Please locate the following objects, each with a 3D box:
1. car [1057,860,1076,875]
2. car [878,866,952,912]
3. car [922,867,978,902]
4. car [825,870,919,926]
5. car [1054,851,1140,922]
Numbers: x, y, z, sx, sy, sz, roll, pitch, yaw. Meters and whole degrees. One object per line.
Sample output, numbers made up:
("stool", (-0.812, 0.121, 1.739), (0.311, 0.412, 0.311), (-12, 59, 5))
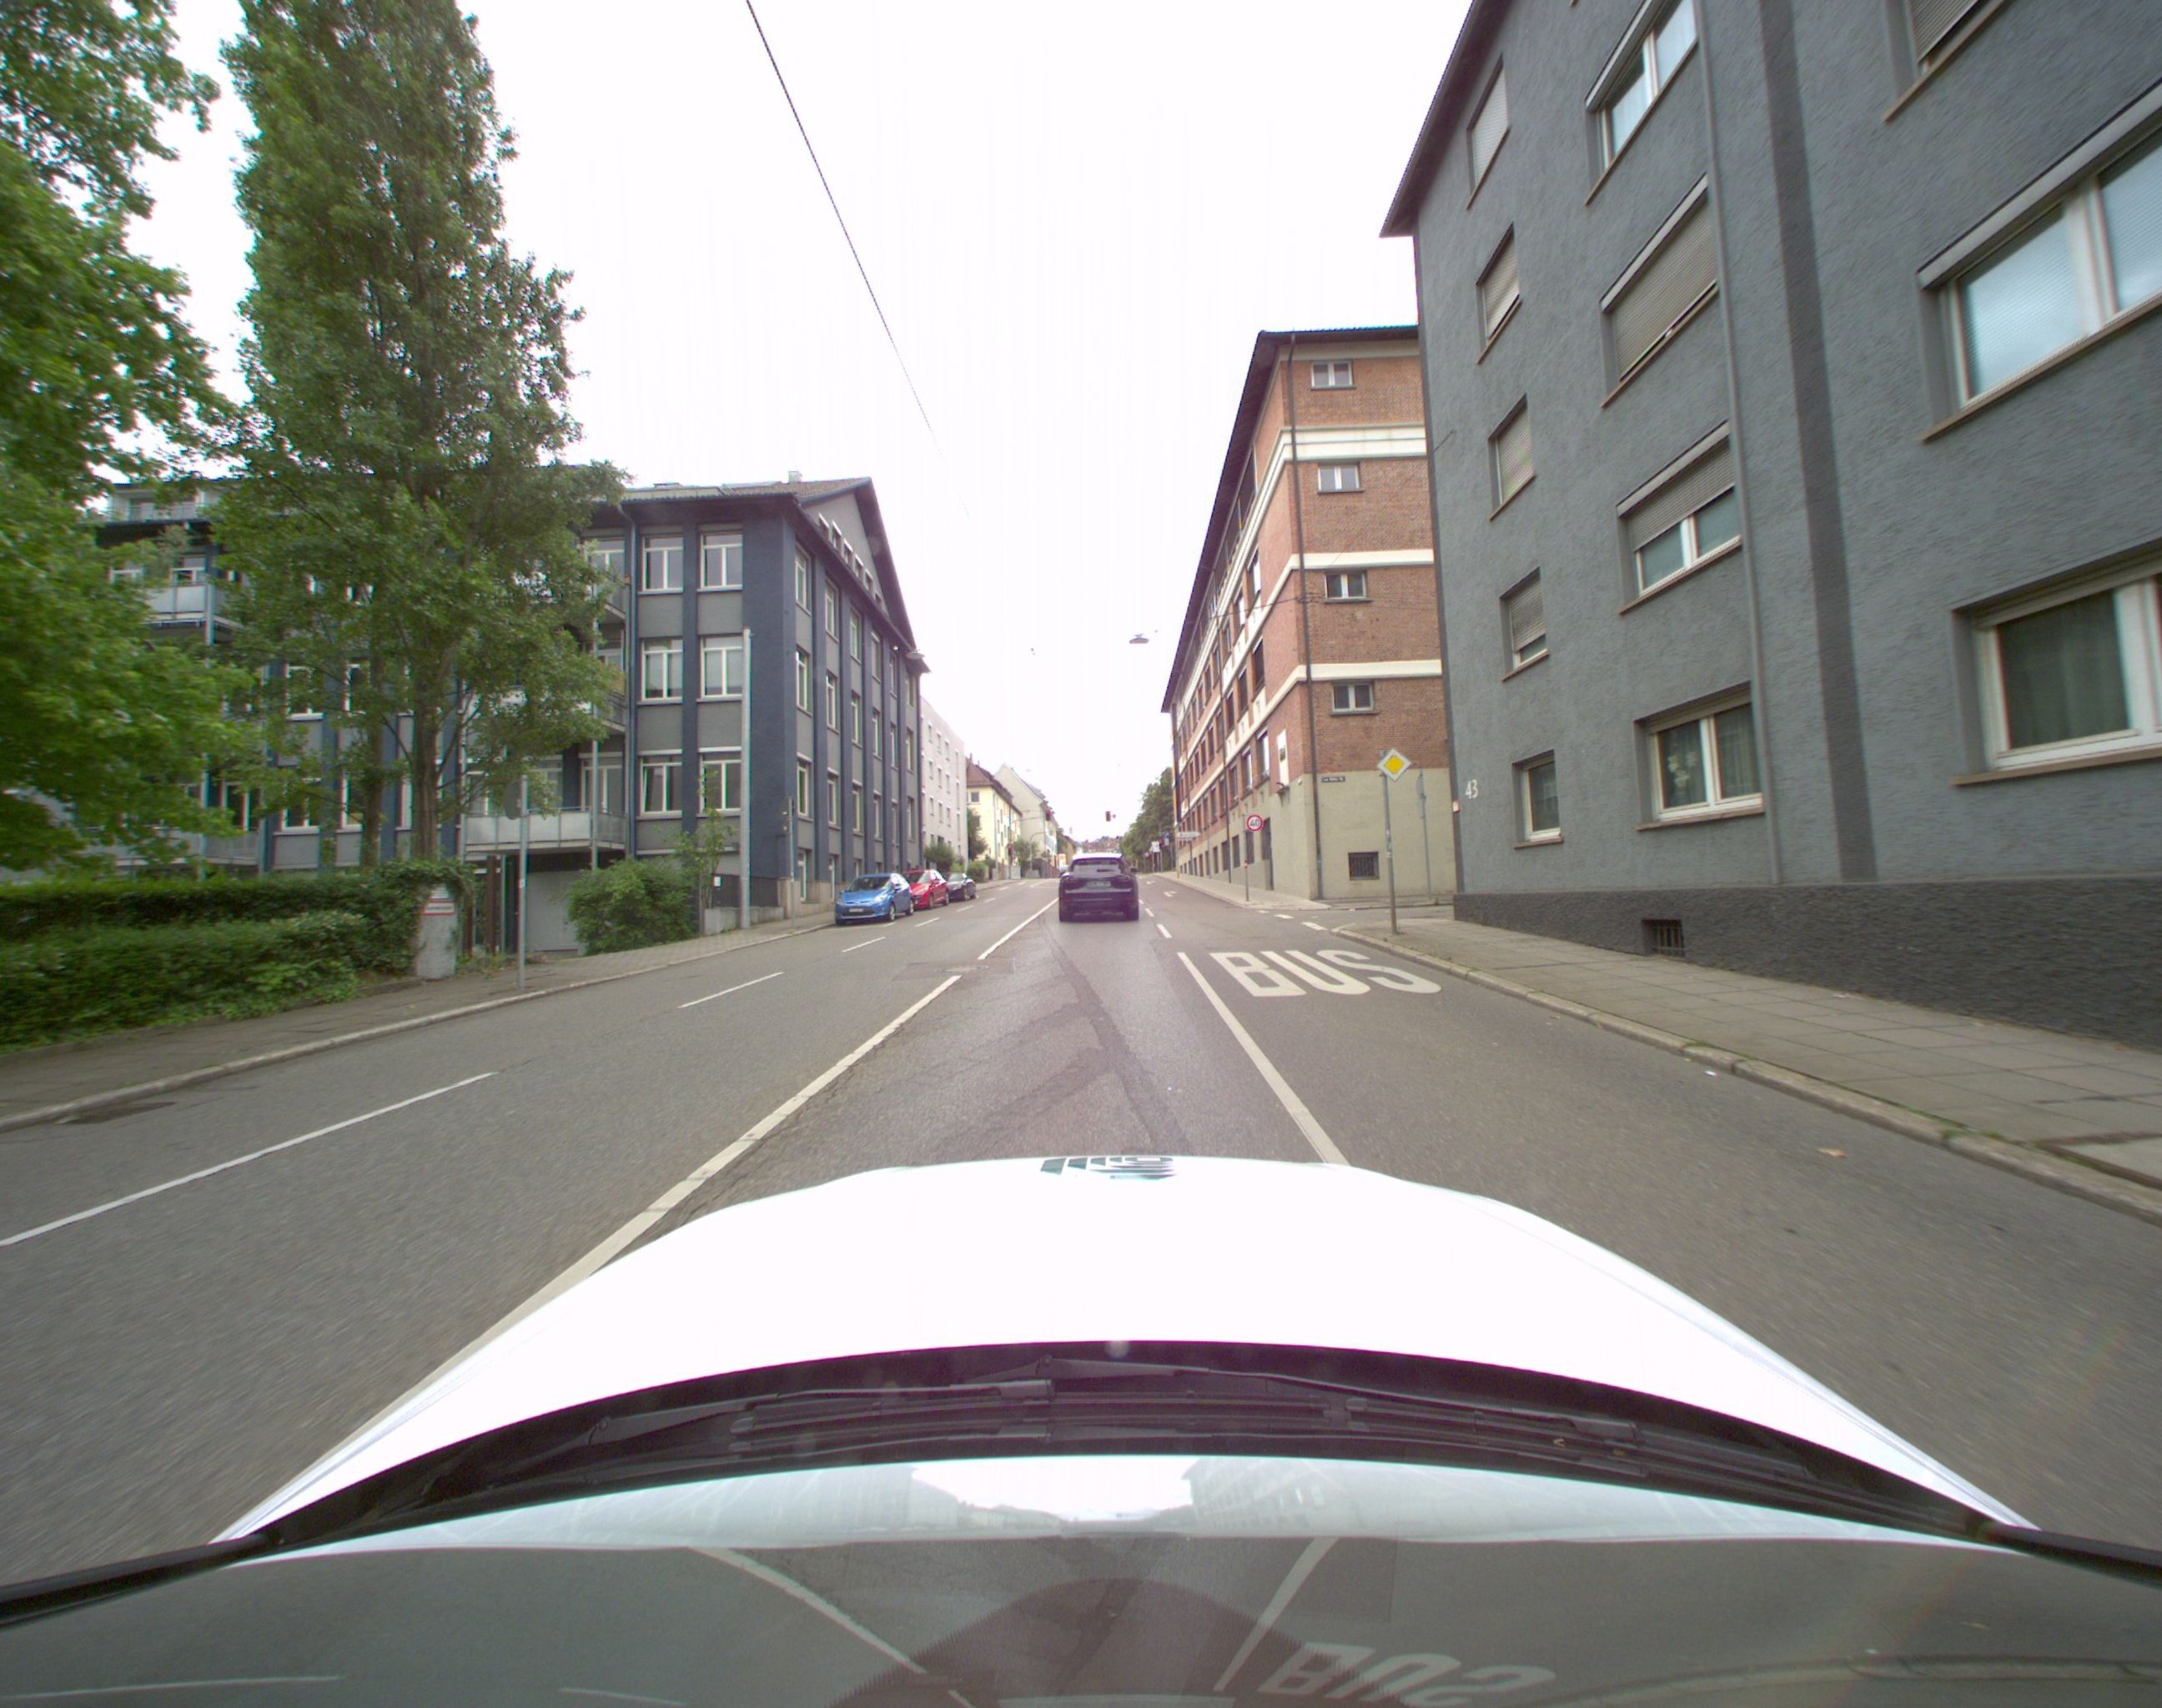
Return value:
("car", (-1.750, 1.629, 99.248), (1.889, 1.691, 4.004), (-4, -1, 3))
("car", (-6.231, 1.286, 31.011), (1.707, 1.456, 3.992), (-4, 0, 3))
("car", (-5.836, 1.329, 36.740), (1.708, 1.341, 3.906), (-4, 0, 2))
("car", (-6.419, 1.307, 25.491), (1.708, 1.423, 3.991), (-4, 0, 2))
("car", (0.314, 0.787, 21.332), (2.019, 1.641, 4.352), (0, -1, -2))
